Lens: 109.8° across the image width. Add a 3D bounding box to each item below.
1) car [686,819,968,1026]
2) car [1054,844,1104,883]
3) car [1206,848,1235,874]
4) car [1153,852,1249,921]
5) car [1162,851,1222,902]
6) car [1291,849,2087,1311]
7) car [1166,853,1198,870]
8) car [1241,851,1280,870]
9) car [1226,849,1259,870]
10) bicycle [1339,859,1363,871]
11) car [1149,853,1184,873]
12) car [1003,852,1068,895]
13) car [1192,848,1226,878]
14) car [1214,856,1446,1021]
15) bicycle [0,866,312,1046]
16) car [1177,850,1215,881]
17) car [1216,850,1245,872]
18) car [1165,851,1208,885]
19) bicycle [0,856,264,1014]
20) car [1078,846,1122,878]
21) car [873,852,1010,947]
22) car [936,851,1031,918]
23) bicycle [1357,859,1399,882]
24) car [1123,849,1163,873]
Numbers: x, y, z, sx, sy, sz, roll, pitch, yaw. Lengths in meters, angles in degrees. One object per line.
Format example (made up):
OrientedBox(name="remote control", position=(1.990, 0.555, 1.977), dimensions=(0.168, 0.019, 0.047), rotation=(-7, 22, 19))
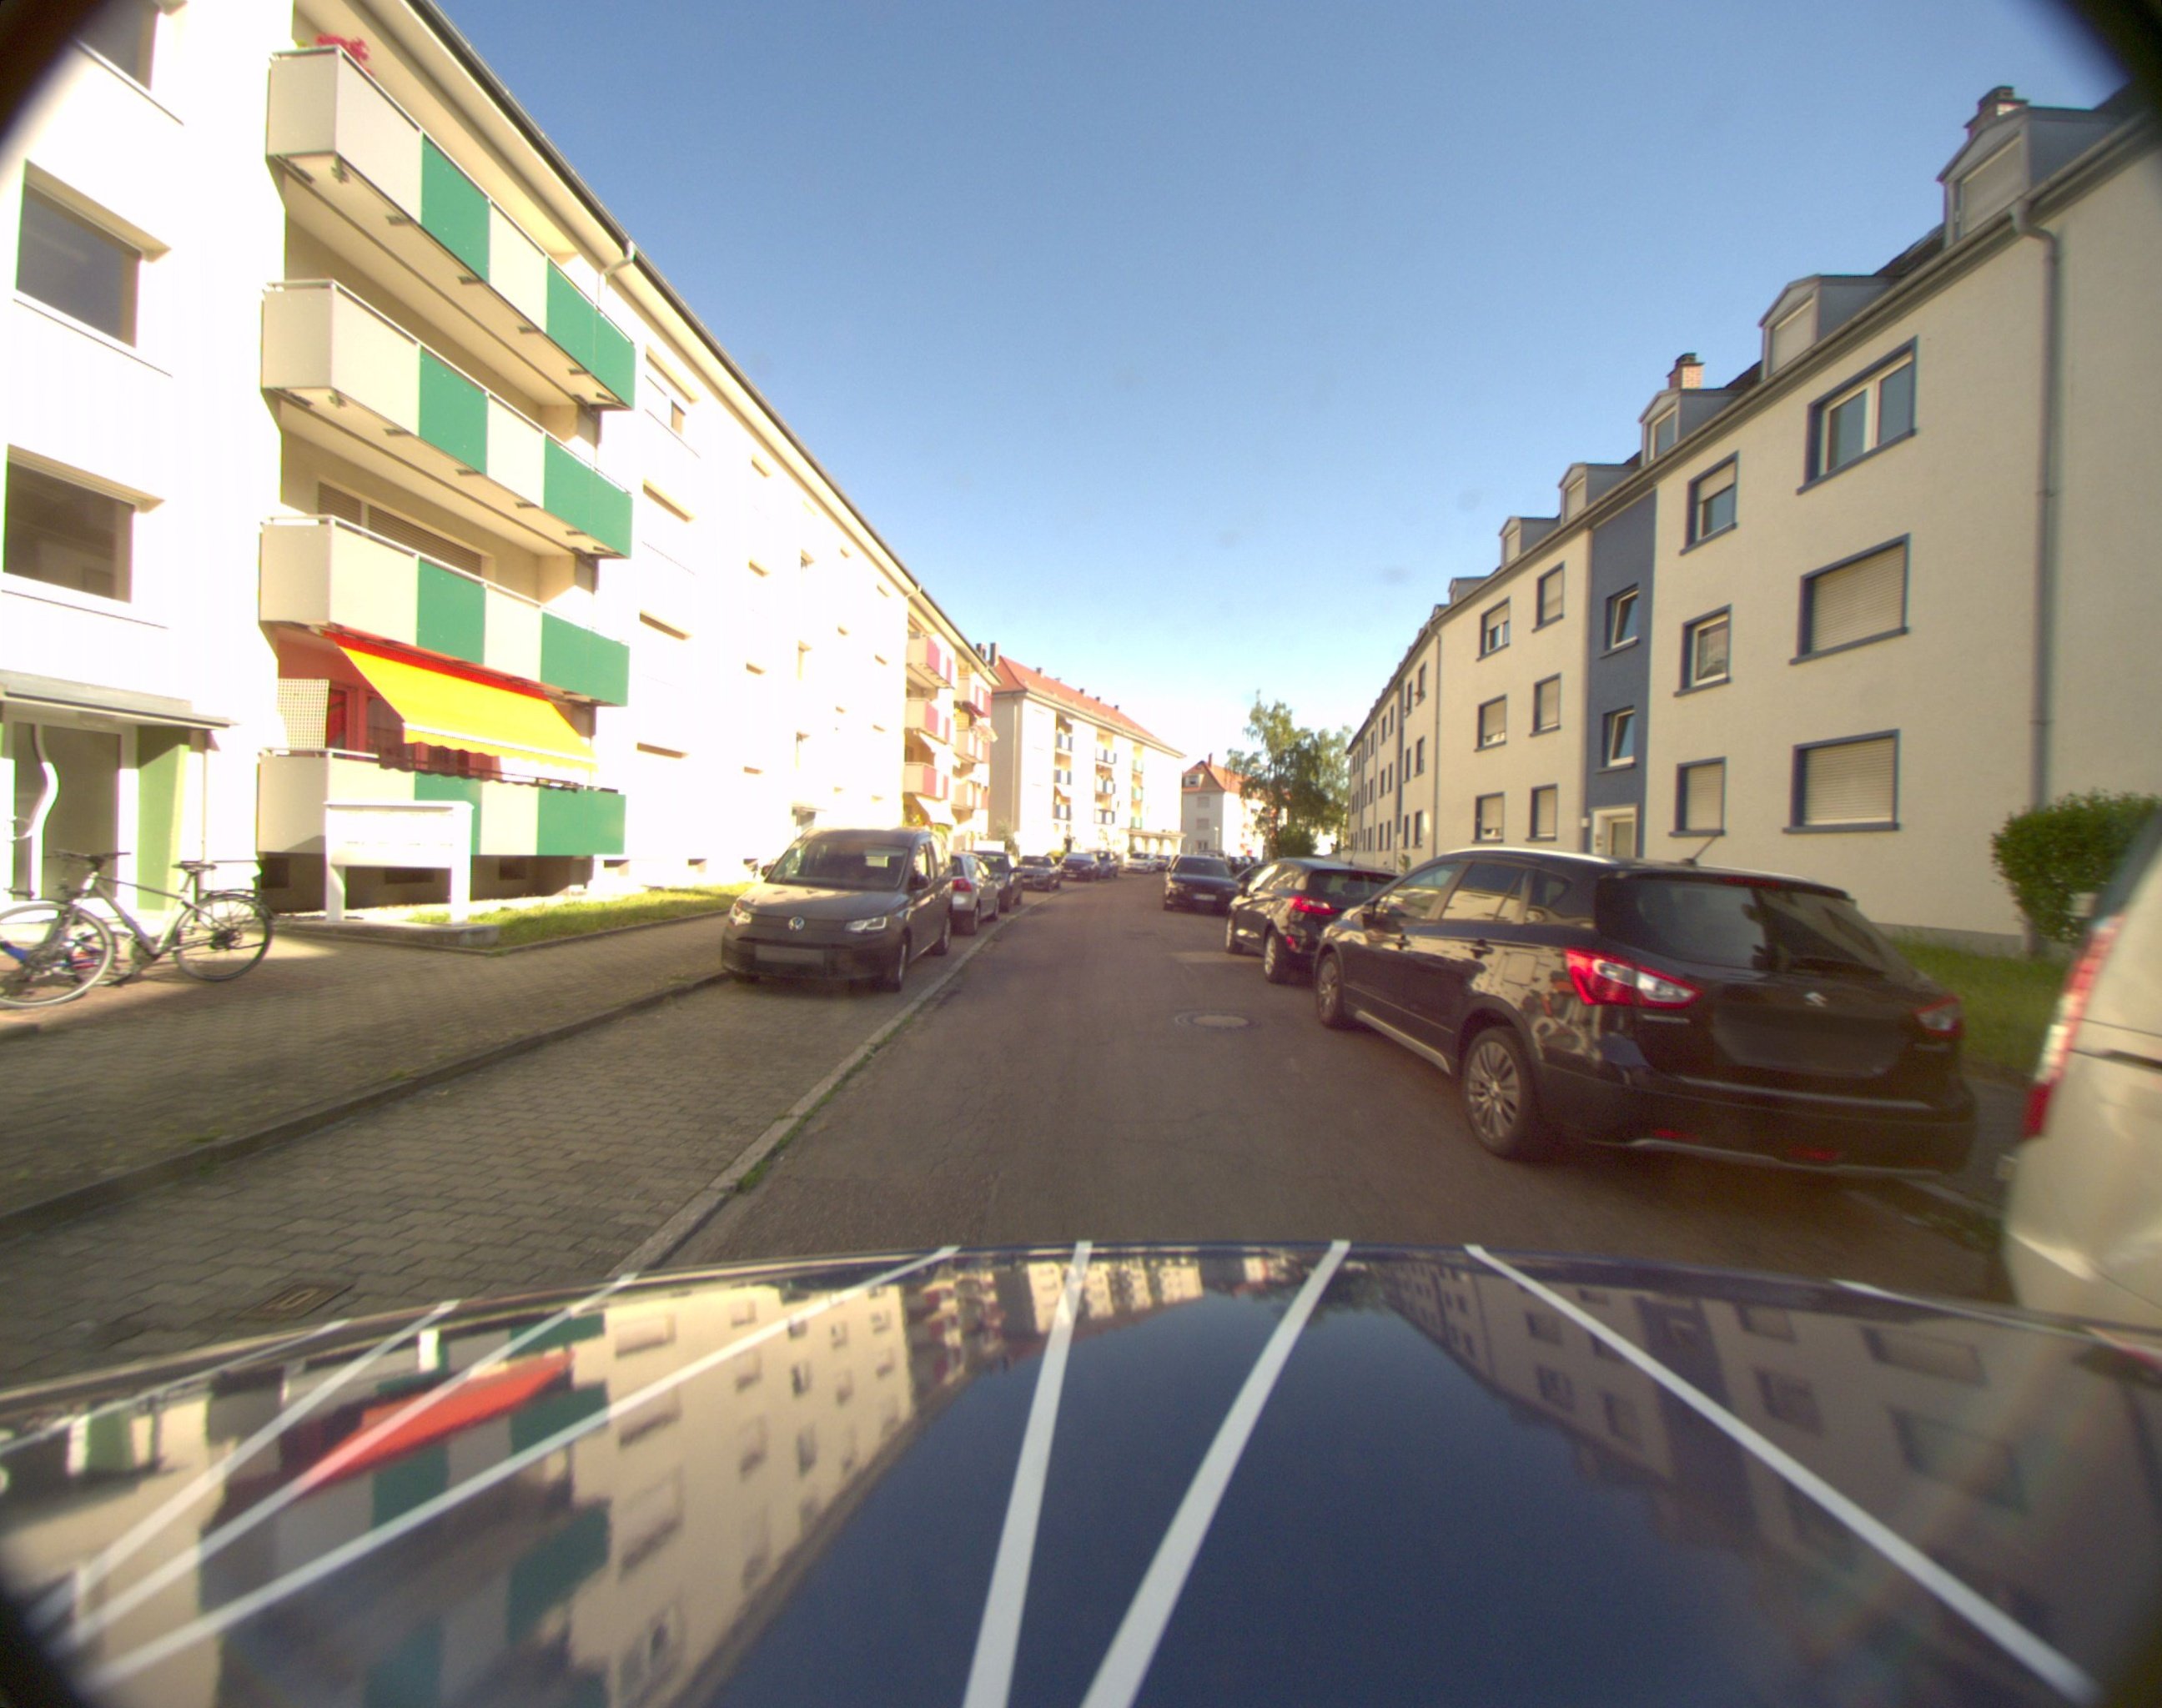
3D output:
OrientedBox(name="car", position=(-2.724, 0.610, 9.495), dimensions=(1.763, 1.829, 4.919), rotation=(3, 1, 0))
OrientedBox(name="car", position=(-0.039, 0.450, 38.313), dimensions=(1.580, 1.752, 4.242), rotation=(3, 1, 11))
OrientedBox(name="car", position=(9.898, 0.465, 53.711), dimensions=(1.639, 1.631, 3.652), rotation=(5, 1, 14))
OrientedBox(name="car", position=(3.051, 0.772, 20.182), dimensions=(1.904, 1.450, 4.396), rotation=(4, 1, 2))
OrientedBox(name="car", position=(3.777, 0.699, 26.437), dimensions=(1.745, 1.507, 3.984), rotation=(4, 1, 5))
OrientedBox(name="car", position=(2.849, 0.839, 4.928), dimensions=(1.677, 1.582, 4.164), rotation=(5, 1, 0))
OrientedBox(name="car", position=(9.108, 0.664, 68.489), dimensions=(1.754, 1.421, 4.098), rotation=(4, 1, 23))
OrientedBox(name="car", position=(16.068, 0.591, 67.896), dimensions=(1.571, 1.417, 3.988), rotation=(5, 1, 41))
OrientedBox(name="car", position=(13.494, 0.449, 63.363), dimensions=(1.638, 1.566, 3.656), rotation=(5, 1, 28))
OrientedBox(name="bicycle", position=(17.464, 0.720, 49.142), dimensions=(1.457, 0.760, 0.310), rotation=(-2, 1, 15))
OrientedBox(name="car", position=(7.049, 0.738, 62.470), dimensions=(1.754, 1.421, 4.474), rotation=(3, 1, 21))
OrientedBox(name="car", position=(-1.639, 0.664, 28.531), dimensions=(1.676, 1.411, 3.862), rotation=(3, 1, 7))
OrientedBox(name="car", position=(8.109, 0.560, 47.890), dimensions=(1.639, 1.693, 3.653), rotation=(5, 1, 15))
OrientedBox(name="car", position=(2.863, 0.872, 9.608), dimensions=(1.648, 1.510, 3.702), rotation=(5, 1, 1))
OrientedBox(name="bicycle", position=(-6.957, 0.658, 5.476), dimensions=(0.506, 1.086, 2.075), rotation=(0, 1, 8))
OrientedBox(name="car", position=(6.451, 0.624, 42.437), dimensions=(1.639, 1.539, 3.652), rotation=(5, 1, 14))
OrientedBox(name="car", position=(11.610, 0.523, 58.760), dimensions=(1.639, 1.566, 3.653), rotation=(5, 1, 18))
OrientedBox(name="car", position=(5.141, 0.635, 36.720), dimensions=(1.717, 1.403, 3.986), rotation=(4, 1, 11))
OrientedBox(name="bicycle", position=(-7.501, 0.555, 5.595), dimensions=(0.506, 1.038, 2.075), rotation=(0, 1, 8))
OrientedBox(name="car", position=(1.133, 0.439, 44.141), dimensions=(1.755, 1.724, 4.004), rotation=(-2, -1, 12))
OrientedBox(name="car", position=(-2.491, 0.750, 14.473), dimensions=(1.643, 1.451, 3.860), rotation=(3, 1, 3))
OrientedBox(name="car", position=(-2.387, 0.696, 19.508), dimensions=(1.667, 1.440, 3.860), rotation=(3, 1, 3))
OrientedBox(name="bicycle", position=(13.564, 0.767, 34.697), dimensions=(1.733, 0.984, 0.462), rotation=(-2, 1, 15))
OrientedBox(name="car", position=(4.661, 0.489, 56.393), dimensions=(1.754, 1.625, 4.413), rotation=(3, 1, 21))
